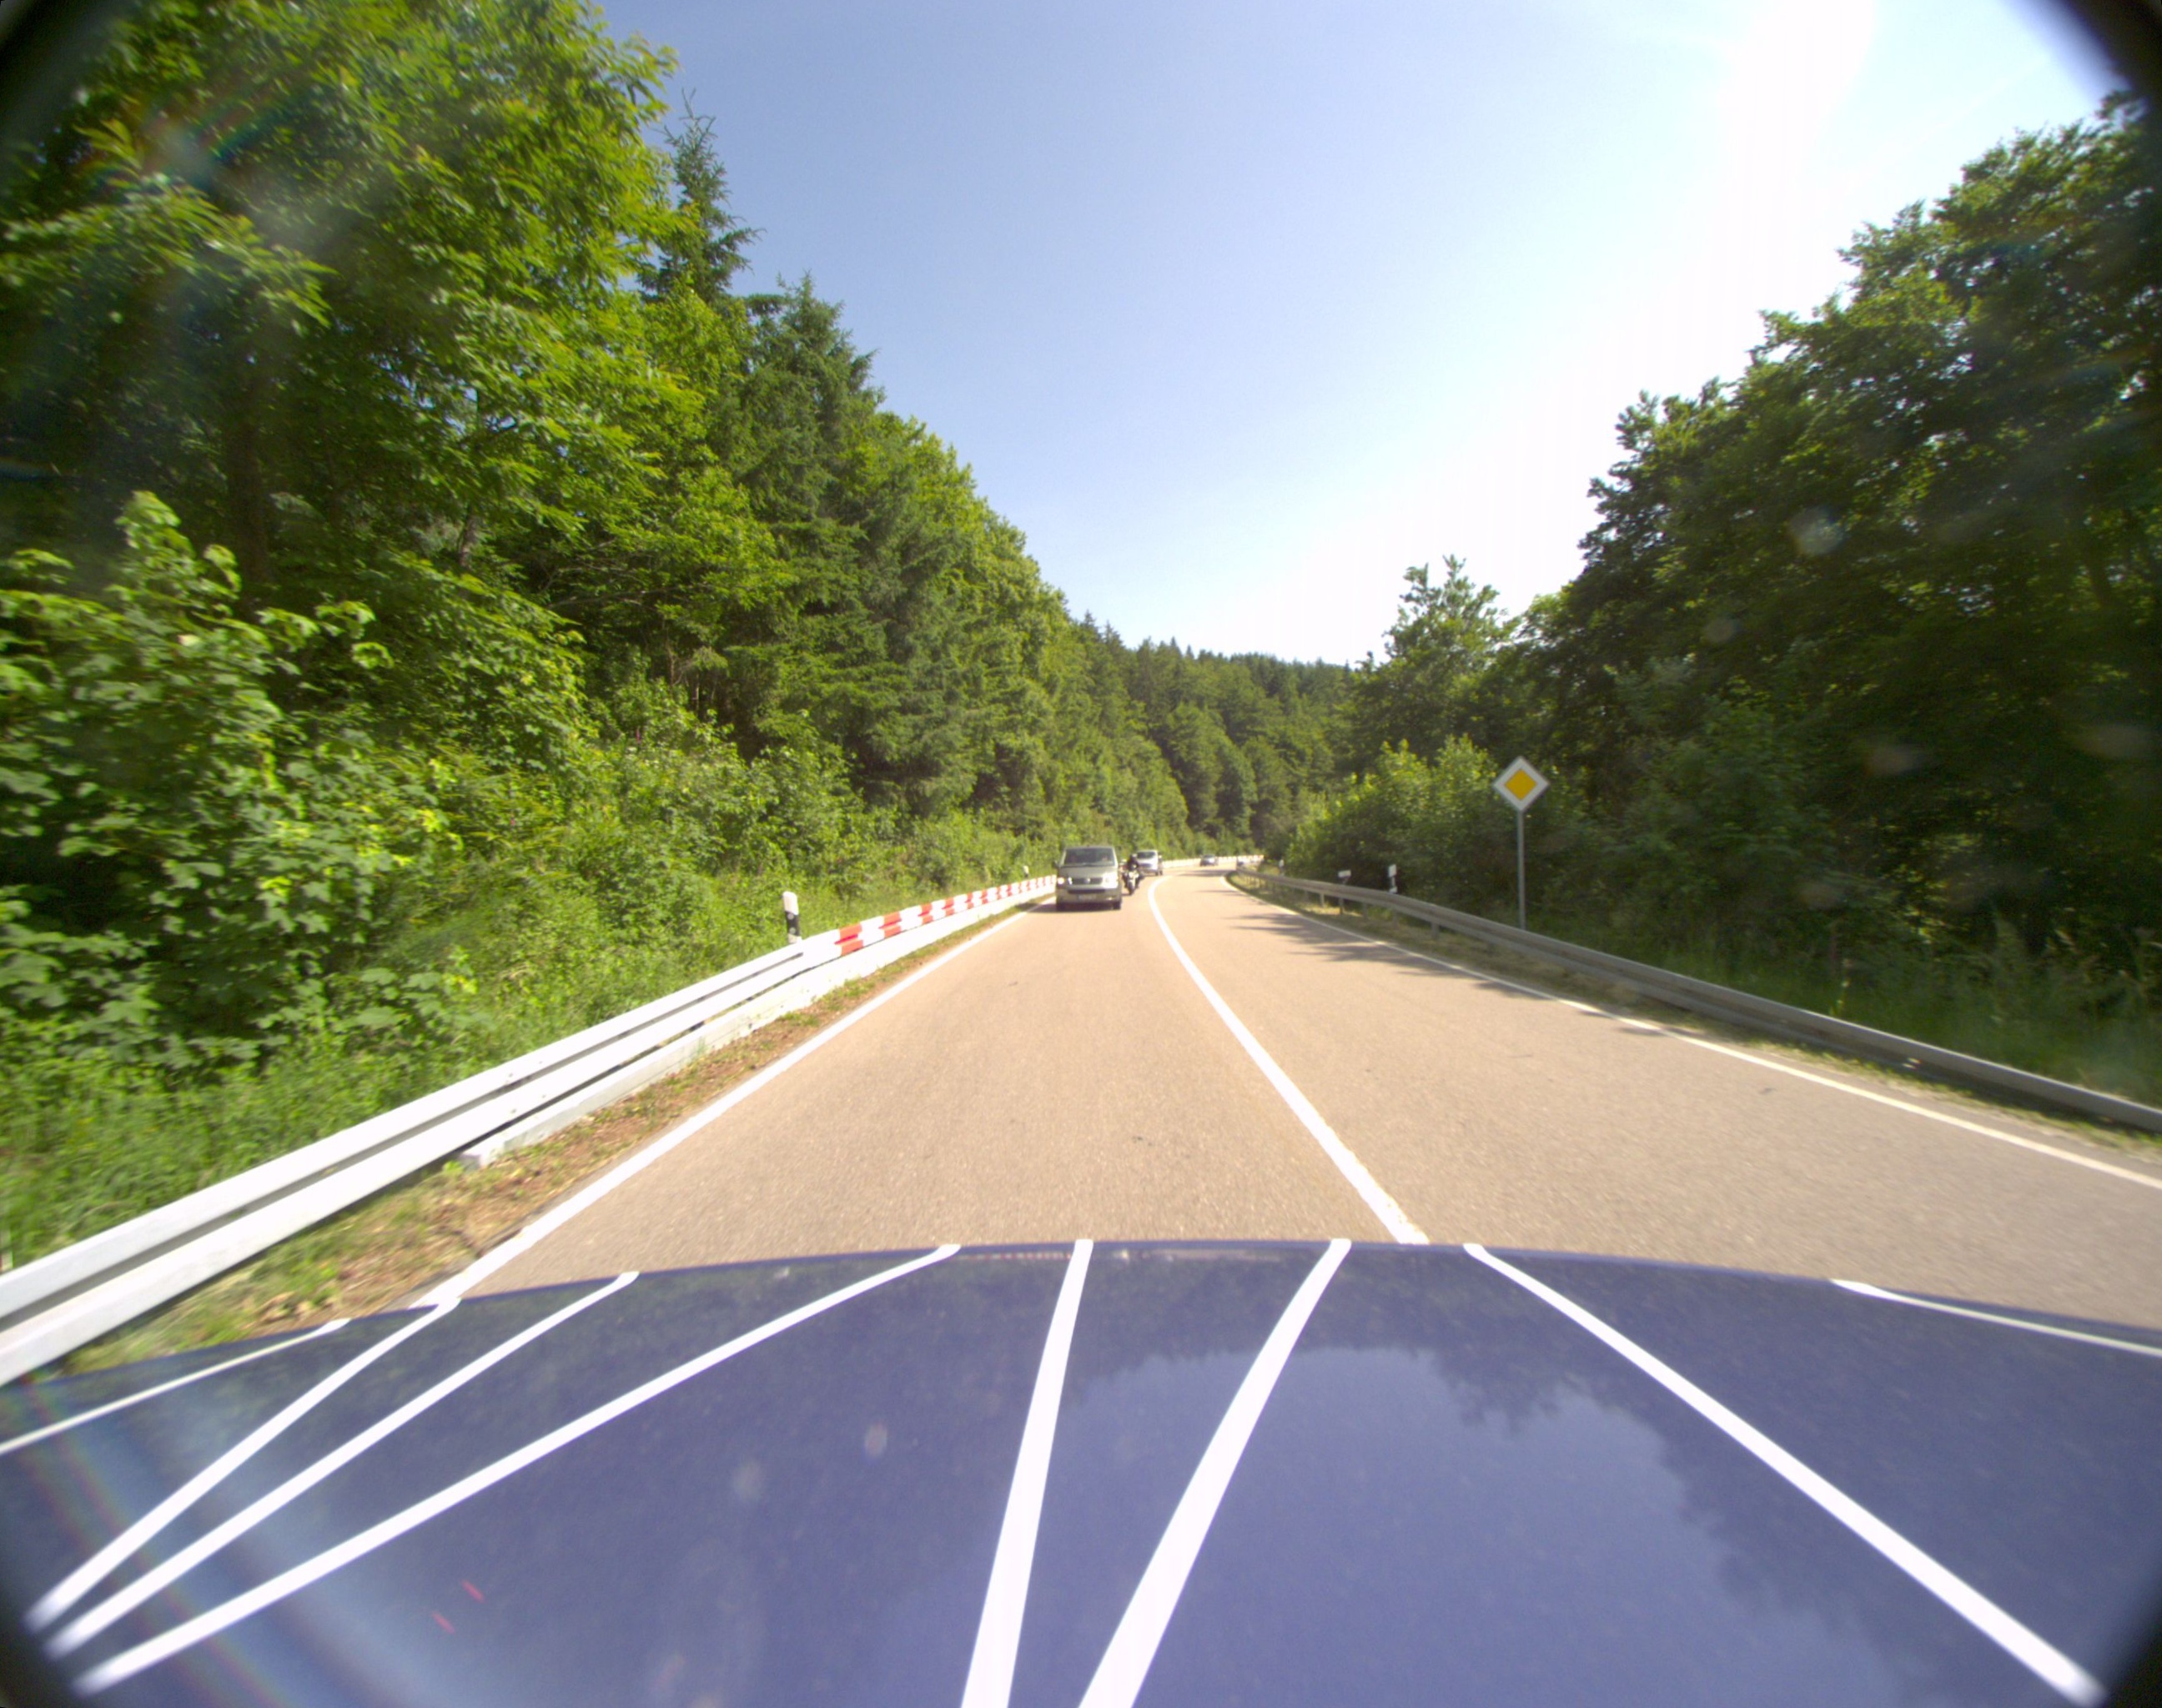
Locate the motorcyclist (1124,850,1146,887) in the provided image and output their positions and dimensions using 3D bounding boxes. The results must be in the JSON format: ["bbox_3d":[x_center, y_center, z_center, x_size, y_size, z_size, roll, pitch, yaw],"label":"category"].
[{"bbox_3d":[2.139,0.581,30.243,0.717,1.421,0.999,-4,0,2],"label":"motorcyclist"}]

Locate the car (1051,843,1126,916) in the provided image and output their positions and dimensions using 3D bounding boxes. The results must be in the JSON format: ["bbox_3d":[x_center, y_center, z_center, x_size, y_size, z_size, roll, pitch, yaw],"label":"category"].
[{"bbox_3d":[0.334,0.698,23.447,2.029,1.940,4.900,-2,0,3],"label":"car"}]

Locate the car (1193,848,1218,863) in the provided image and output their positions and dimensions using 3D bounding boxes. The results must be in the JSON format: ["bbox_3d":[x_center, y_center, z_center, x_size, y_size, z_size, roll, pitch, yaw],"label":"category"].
[{"bbox_3d":[14.574,0.121,88.661,1.995,1.633,4.006,-3,0,22],"label":"car"}]

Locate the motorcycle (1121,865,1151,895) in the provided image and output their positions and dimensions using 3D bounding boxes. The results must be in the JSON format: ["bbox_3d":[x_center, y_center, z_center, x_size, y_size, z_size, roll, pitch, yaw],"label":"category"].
[{"bbox_3d":[2.156,1.012,30.191,1.109,1.117,1.961,-1,0,2],"label":"motorcycle"}]

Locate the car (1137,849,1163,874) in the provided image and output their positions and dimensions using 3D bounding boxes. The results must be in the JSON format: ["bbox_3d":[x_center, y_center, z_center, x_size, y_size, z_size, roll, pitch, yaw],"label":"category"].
[{"bbox_3d":[5.116,0.521,55.774,1.652,1.749,3.796,-1,0,8],"label":"car"}]
